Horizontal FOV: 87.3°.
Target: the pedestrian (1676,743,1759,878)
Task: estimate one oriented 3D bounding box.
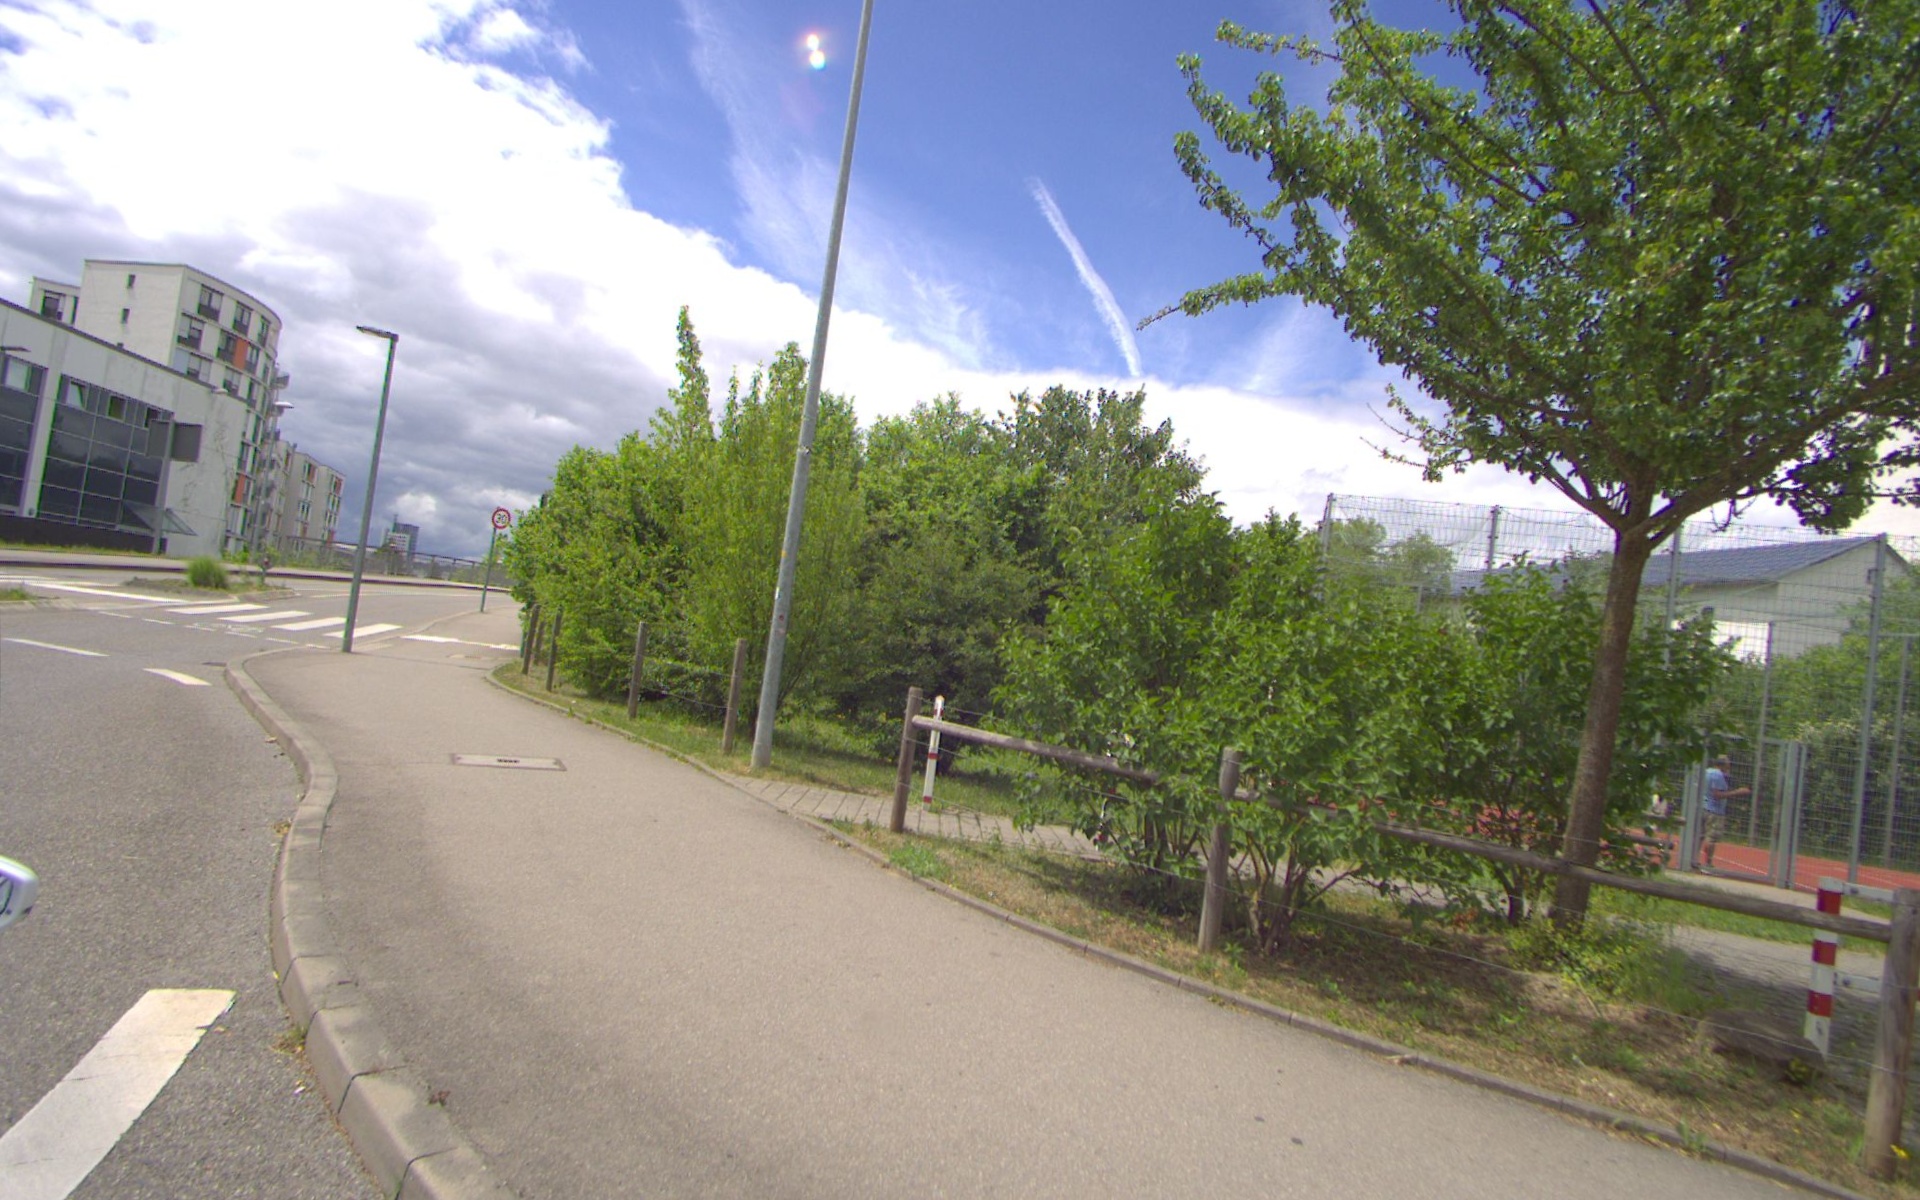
[{"bbox_3d":[11.360,3.137,15.102,0.737,1.858,0.554,6,-4,18],"label":"pedestrian"}]

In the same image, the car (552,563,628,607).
[{"bbox_3d":[-18.914,-0.748,51.632,1.876,1.466,4.013,7,-6,7],"label":"car"}]
